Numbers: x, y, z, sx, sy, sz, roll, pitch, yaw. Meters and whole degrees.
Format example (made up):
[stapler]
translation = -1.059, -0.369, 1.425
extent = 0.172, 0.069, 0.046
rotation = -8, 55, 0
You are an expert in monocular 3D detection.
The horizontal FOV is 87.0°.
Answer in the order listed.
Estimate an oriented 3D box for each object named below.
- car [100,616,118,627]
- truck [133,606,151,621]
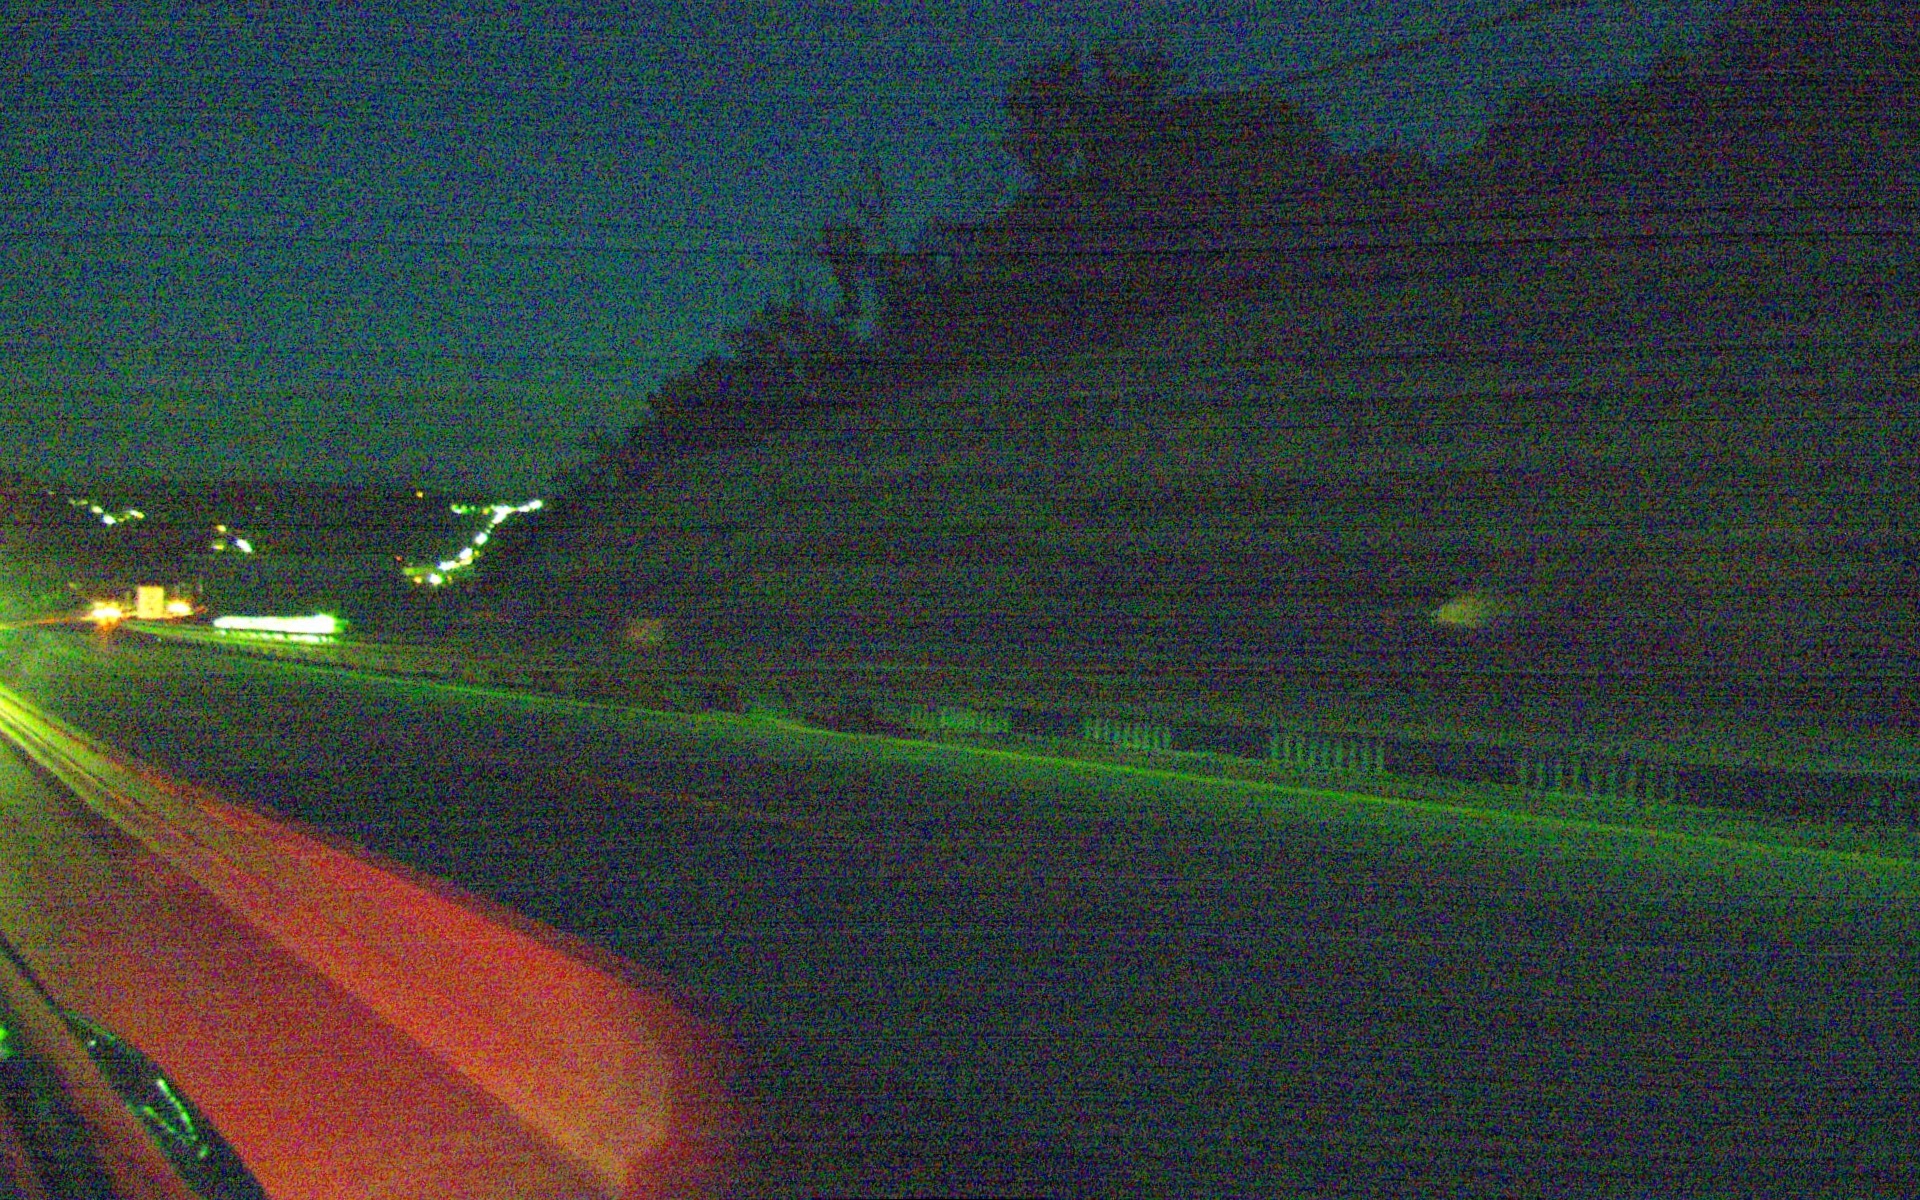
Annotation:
[car]
translation = -123.426, 3.169, 146.818
extent = 1.784, 1.529, 3.944
rotation = 0, -2, -36
[truck]
translation = -149.627, 2.430, 185.165
extent = 2.271, 2.493, 6.286
rotation = 0, 0, -37
